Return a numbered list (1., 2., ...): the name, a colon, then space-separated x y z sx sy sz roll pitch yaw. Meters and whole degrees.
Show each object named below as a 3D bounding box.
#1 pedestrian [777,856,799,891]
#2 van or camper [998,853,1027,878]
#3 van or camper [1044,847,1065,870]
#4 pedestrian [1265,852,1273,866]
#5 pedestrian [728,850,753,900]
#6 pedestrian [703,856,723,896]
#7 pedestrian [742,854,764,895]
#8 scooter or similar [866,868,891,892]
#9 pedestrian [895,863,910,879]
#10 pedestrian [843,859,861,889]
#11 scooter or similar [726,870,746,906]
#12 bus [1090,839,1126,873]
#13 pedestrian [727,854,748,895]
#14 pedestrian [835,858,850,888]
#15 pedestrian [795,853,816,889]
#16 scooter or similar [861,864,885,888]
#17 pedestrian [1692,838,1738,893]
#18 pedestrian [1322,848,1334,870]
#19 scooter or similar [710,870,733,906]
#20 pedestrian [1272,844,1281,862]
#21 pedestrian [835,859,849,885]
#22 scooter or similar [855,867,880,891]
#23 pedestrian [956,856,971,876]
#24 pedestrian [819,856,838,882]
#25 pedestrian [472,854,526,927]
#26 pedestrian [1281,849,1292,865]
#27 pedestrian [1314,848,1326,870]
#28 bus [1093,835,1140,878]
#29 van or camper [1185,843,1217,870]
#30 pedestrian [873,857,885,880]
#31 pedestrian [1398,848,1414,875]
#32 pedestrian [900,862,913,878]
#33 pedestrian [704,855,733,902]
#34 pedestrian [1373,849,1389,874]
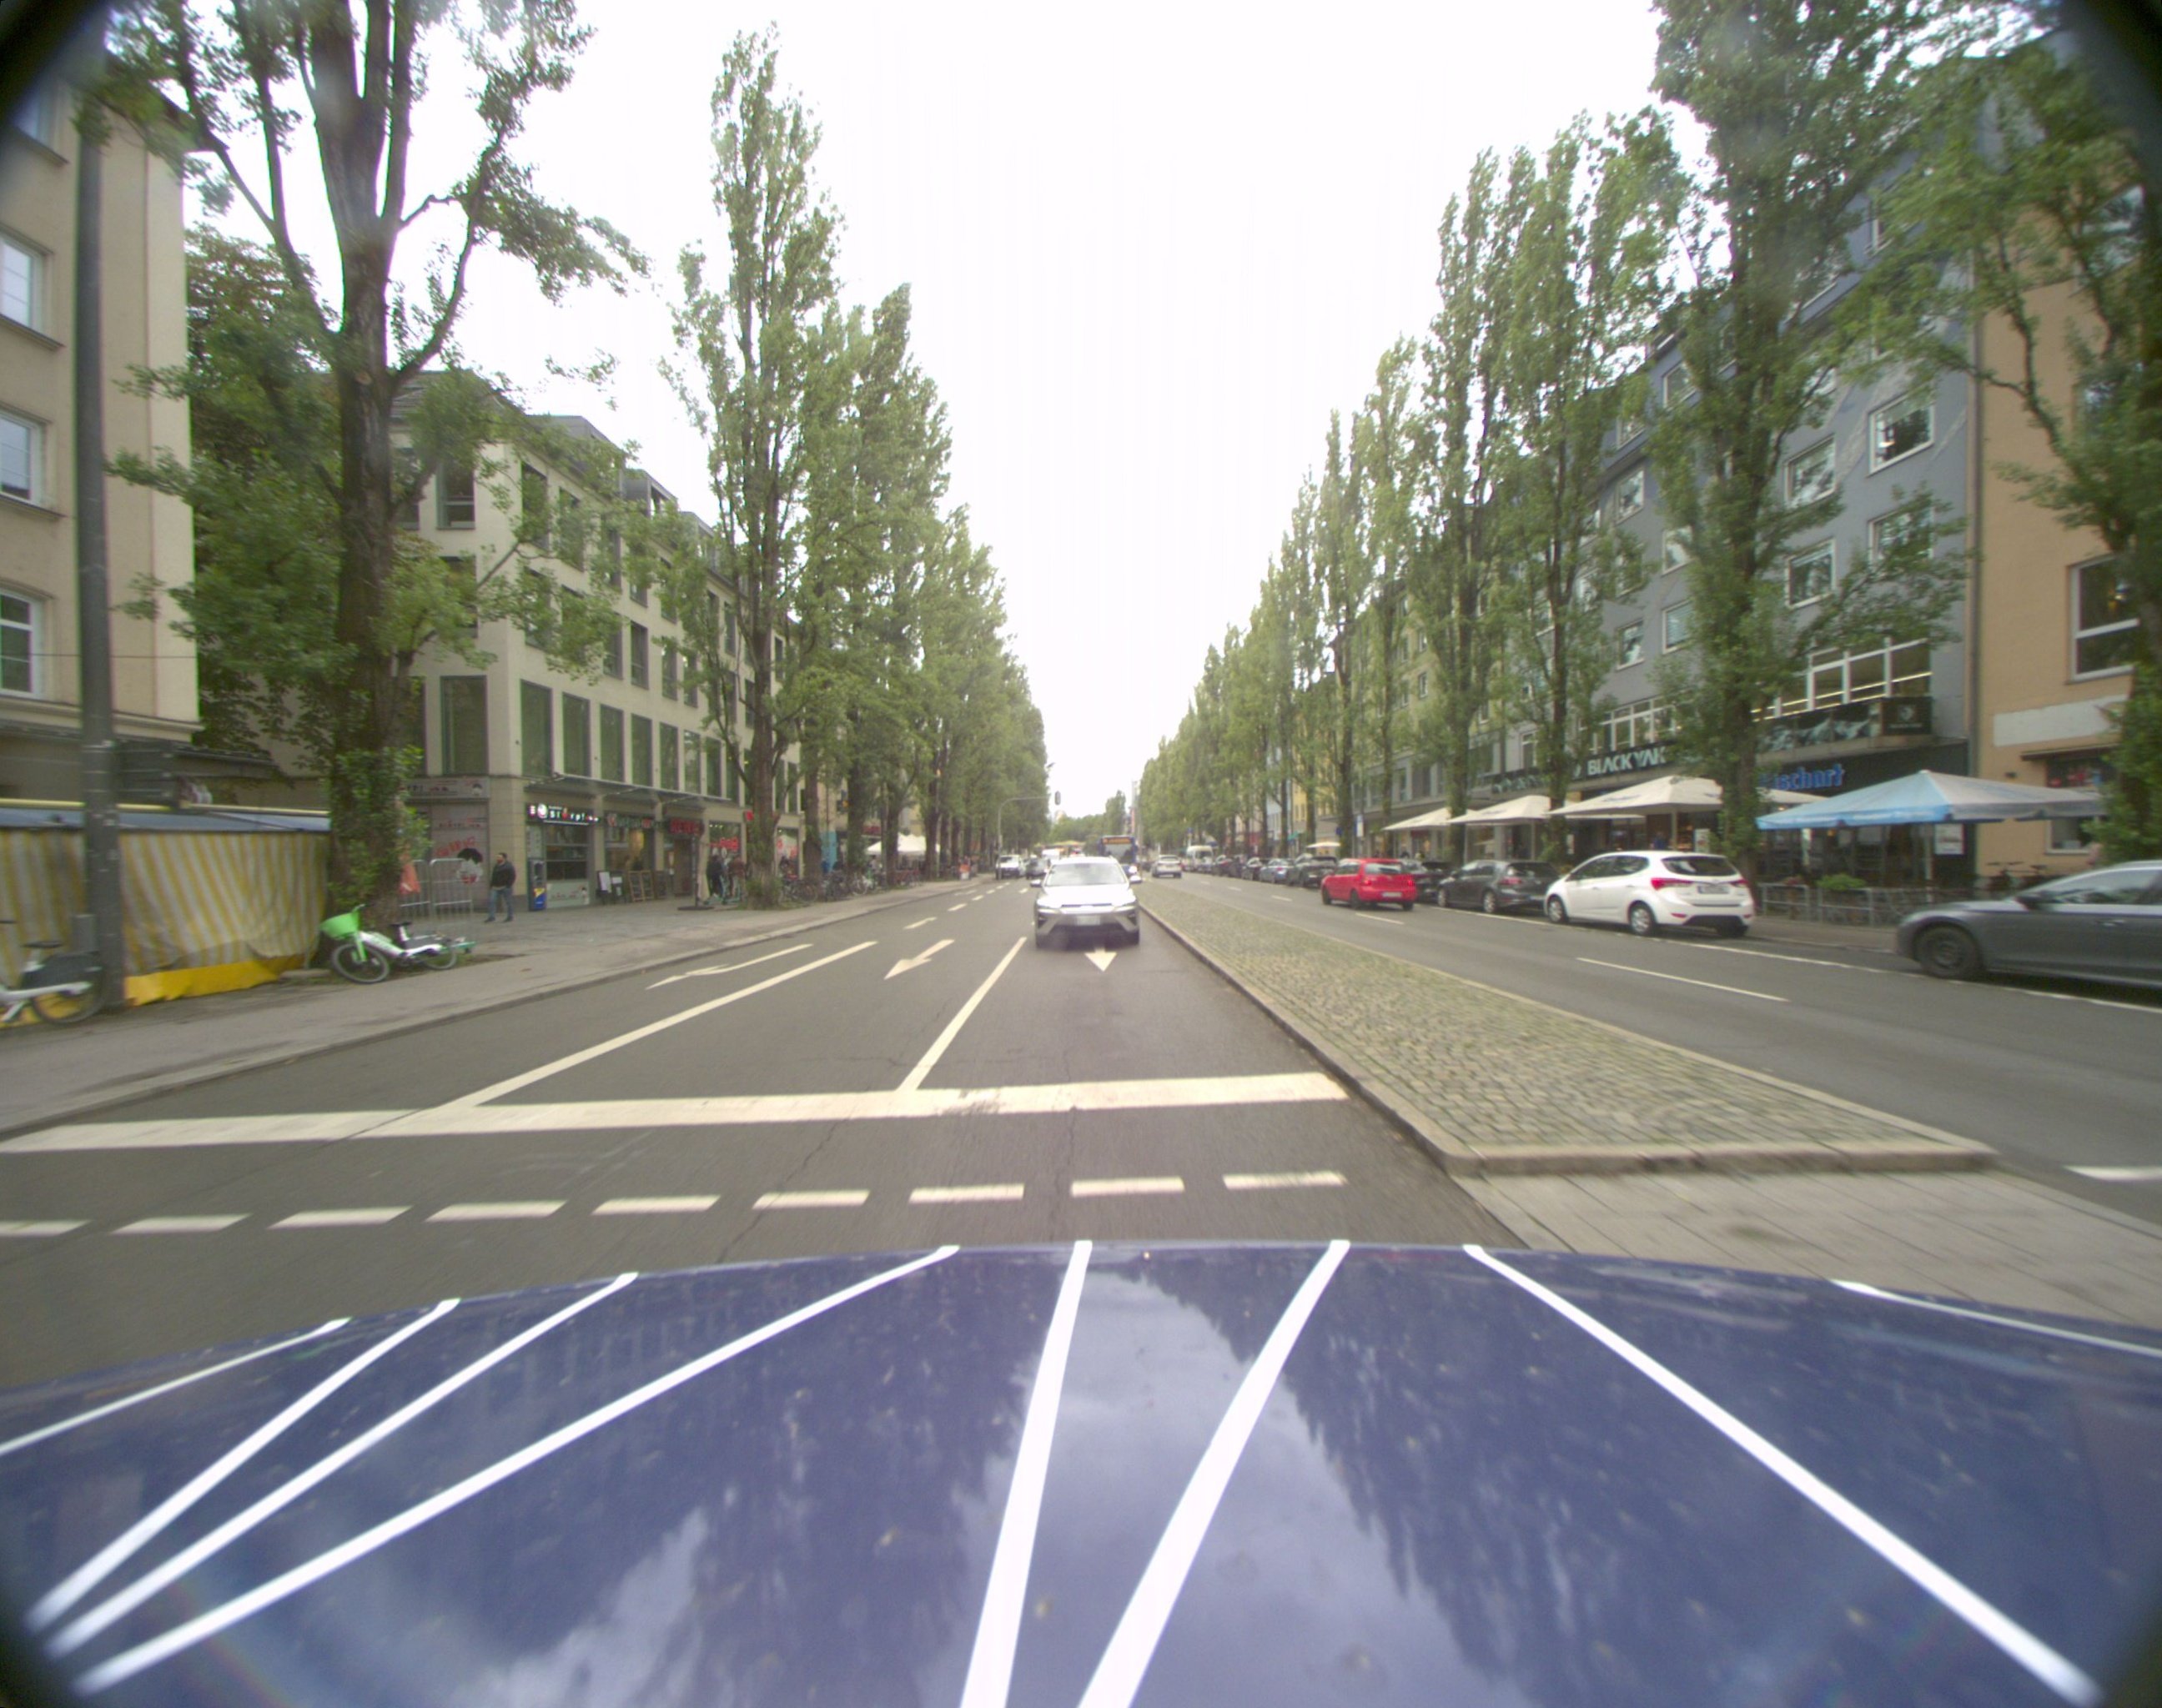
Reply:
1. pedestrian: -15.523 1.029 40.289 0.753 1.843 0.821 -2 0 2
2. van or camper: -5.469 0.898 61.476 1.795 1.894 4.566 -1 0 1
3. van or camper: -2.930 0.485 84.424 1.998 2.470 6.643 -1 0 0
4. pedestrian: 19.383 0.501 78.277 0.649 1.430 0.551 -1 1 -5
5. pedestrian: -13.663 0.826 30.491 0.658 1.959 0.722 0 0 3
6. pedestrian: -16.409 0.956 33.888 0.548 1.757 0.641 -2 0 -1
7. pedestrian: -14.500 0.890 33.605 0.658 1.774 0.674 -1 1 2
8. scooter or similar: -10.550 1.354 39.651 0.285 1.163 1.246 -1 1 42
9. pedestrian: -13.657 1.286 58.075 0.775 1.209 1.023 -2 0 4
10. pedestrian: -12.554 1.097 41.608 0.711 1.580 0.793 1 0 0
11. scooter or similar: -12.570 1.225 27.696 0.248 1.266 1.036 -1 0 0
12. bus: 2.395 0.168 71.120 2.806 2.886 12.857 -1 0 0
13. pedestrian: -15.218 0.910 33.663 0.566 1.774 0.674 -1 1 2
14. pedestrian: -13.831 1.087 44.060 0.566 1.732 0.697 -2 0 3
15. pedestrian: -14.483 0.866 39.900 0.753 1.858 0.821 -1 0 3
16. scooter or similar: -10.903 1.157 39.880 0.306 1.163 1.246 -1 1 39
17. pedestrian: 18.838 0.332 22.592 0.742 1.592 0.756 -1 0 2
18. pedestrian: 20.106 0.401 61.884 0.749 1.784 0.716 -1 1 1
19. scooter or similar: -13.105 1.215 27.696 0.331 1.266 1.036 -1 0 0
20. pedestrian: 19.430 -0.113 75.532 0.732 1.755 0.724 -1 0 -1
21. pedestrian: -14.528 1.096 46.169 0.566 1.511 0.697 -2 0 3
22. scooter or similar: -10.461 1.228 37.252 1.241 1.163 0.404 -1 2 30
23. pedestrian: -10.481 1.077 67.806 0.941 1.756 0.837 -1 0 38
24. pedestrian: -15.926 0.961 47.930 0.764 1.594 1.016 -2 0 1
25. pedestrian: -15.003 0.919 19.614 0.814 1.804 0.979 -1 1 -21
26. pedestrian: 17.994 0.257 66.445 0.769 1.430 0.551 -1 1 -5
27. pedestrian: 19.478 0.425 61.878 0.749 1.784 0.716 -1 1 1
28. bus: 2.527 0.171 58.268 2.806 2.886 12.856 -1 0 -1
29. van or camper: 11.670 0.219 74.439 2.131 2.536 6.643 -1 0 1
30. pedestrian: -14.598 1.021 54.852 0.668 1.654 0.692 -2 0 -1
31. pedestrian: 20.491 0.480 47.898 0.710 1.663 0.756 -1 1 1
32. pedestrian: -13.619 1.278 59.211 0.667 1.209 1.023 -2 0 4
33. pedestrian: -14.435 0.944 30.252 0.658 1.840 0.906 -1 0 2
34. pedestrian: 19.402 0.473 49.114 0.723 1.641 0.712 -1 0 1
